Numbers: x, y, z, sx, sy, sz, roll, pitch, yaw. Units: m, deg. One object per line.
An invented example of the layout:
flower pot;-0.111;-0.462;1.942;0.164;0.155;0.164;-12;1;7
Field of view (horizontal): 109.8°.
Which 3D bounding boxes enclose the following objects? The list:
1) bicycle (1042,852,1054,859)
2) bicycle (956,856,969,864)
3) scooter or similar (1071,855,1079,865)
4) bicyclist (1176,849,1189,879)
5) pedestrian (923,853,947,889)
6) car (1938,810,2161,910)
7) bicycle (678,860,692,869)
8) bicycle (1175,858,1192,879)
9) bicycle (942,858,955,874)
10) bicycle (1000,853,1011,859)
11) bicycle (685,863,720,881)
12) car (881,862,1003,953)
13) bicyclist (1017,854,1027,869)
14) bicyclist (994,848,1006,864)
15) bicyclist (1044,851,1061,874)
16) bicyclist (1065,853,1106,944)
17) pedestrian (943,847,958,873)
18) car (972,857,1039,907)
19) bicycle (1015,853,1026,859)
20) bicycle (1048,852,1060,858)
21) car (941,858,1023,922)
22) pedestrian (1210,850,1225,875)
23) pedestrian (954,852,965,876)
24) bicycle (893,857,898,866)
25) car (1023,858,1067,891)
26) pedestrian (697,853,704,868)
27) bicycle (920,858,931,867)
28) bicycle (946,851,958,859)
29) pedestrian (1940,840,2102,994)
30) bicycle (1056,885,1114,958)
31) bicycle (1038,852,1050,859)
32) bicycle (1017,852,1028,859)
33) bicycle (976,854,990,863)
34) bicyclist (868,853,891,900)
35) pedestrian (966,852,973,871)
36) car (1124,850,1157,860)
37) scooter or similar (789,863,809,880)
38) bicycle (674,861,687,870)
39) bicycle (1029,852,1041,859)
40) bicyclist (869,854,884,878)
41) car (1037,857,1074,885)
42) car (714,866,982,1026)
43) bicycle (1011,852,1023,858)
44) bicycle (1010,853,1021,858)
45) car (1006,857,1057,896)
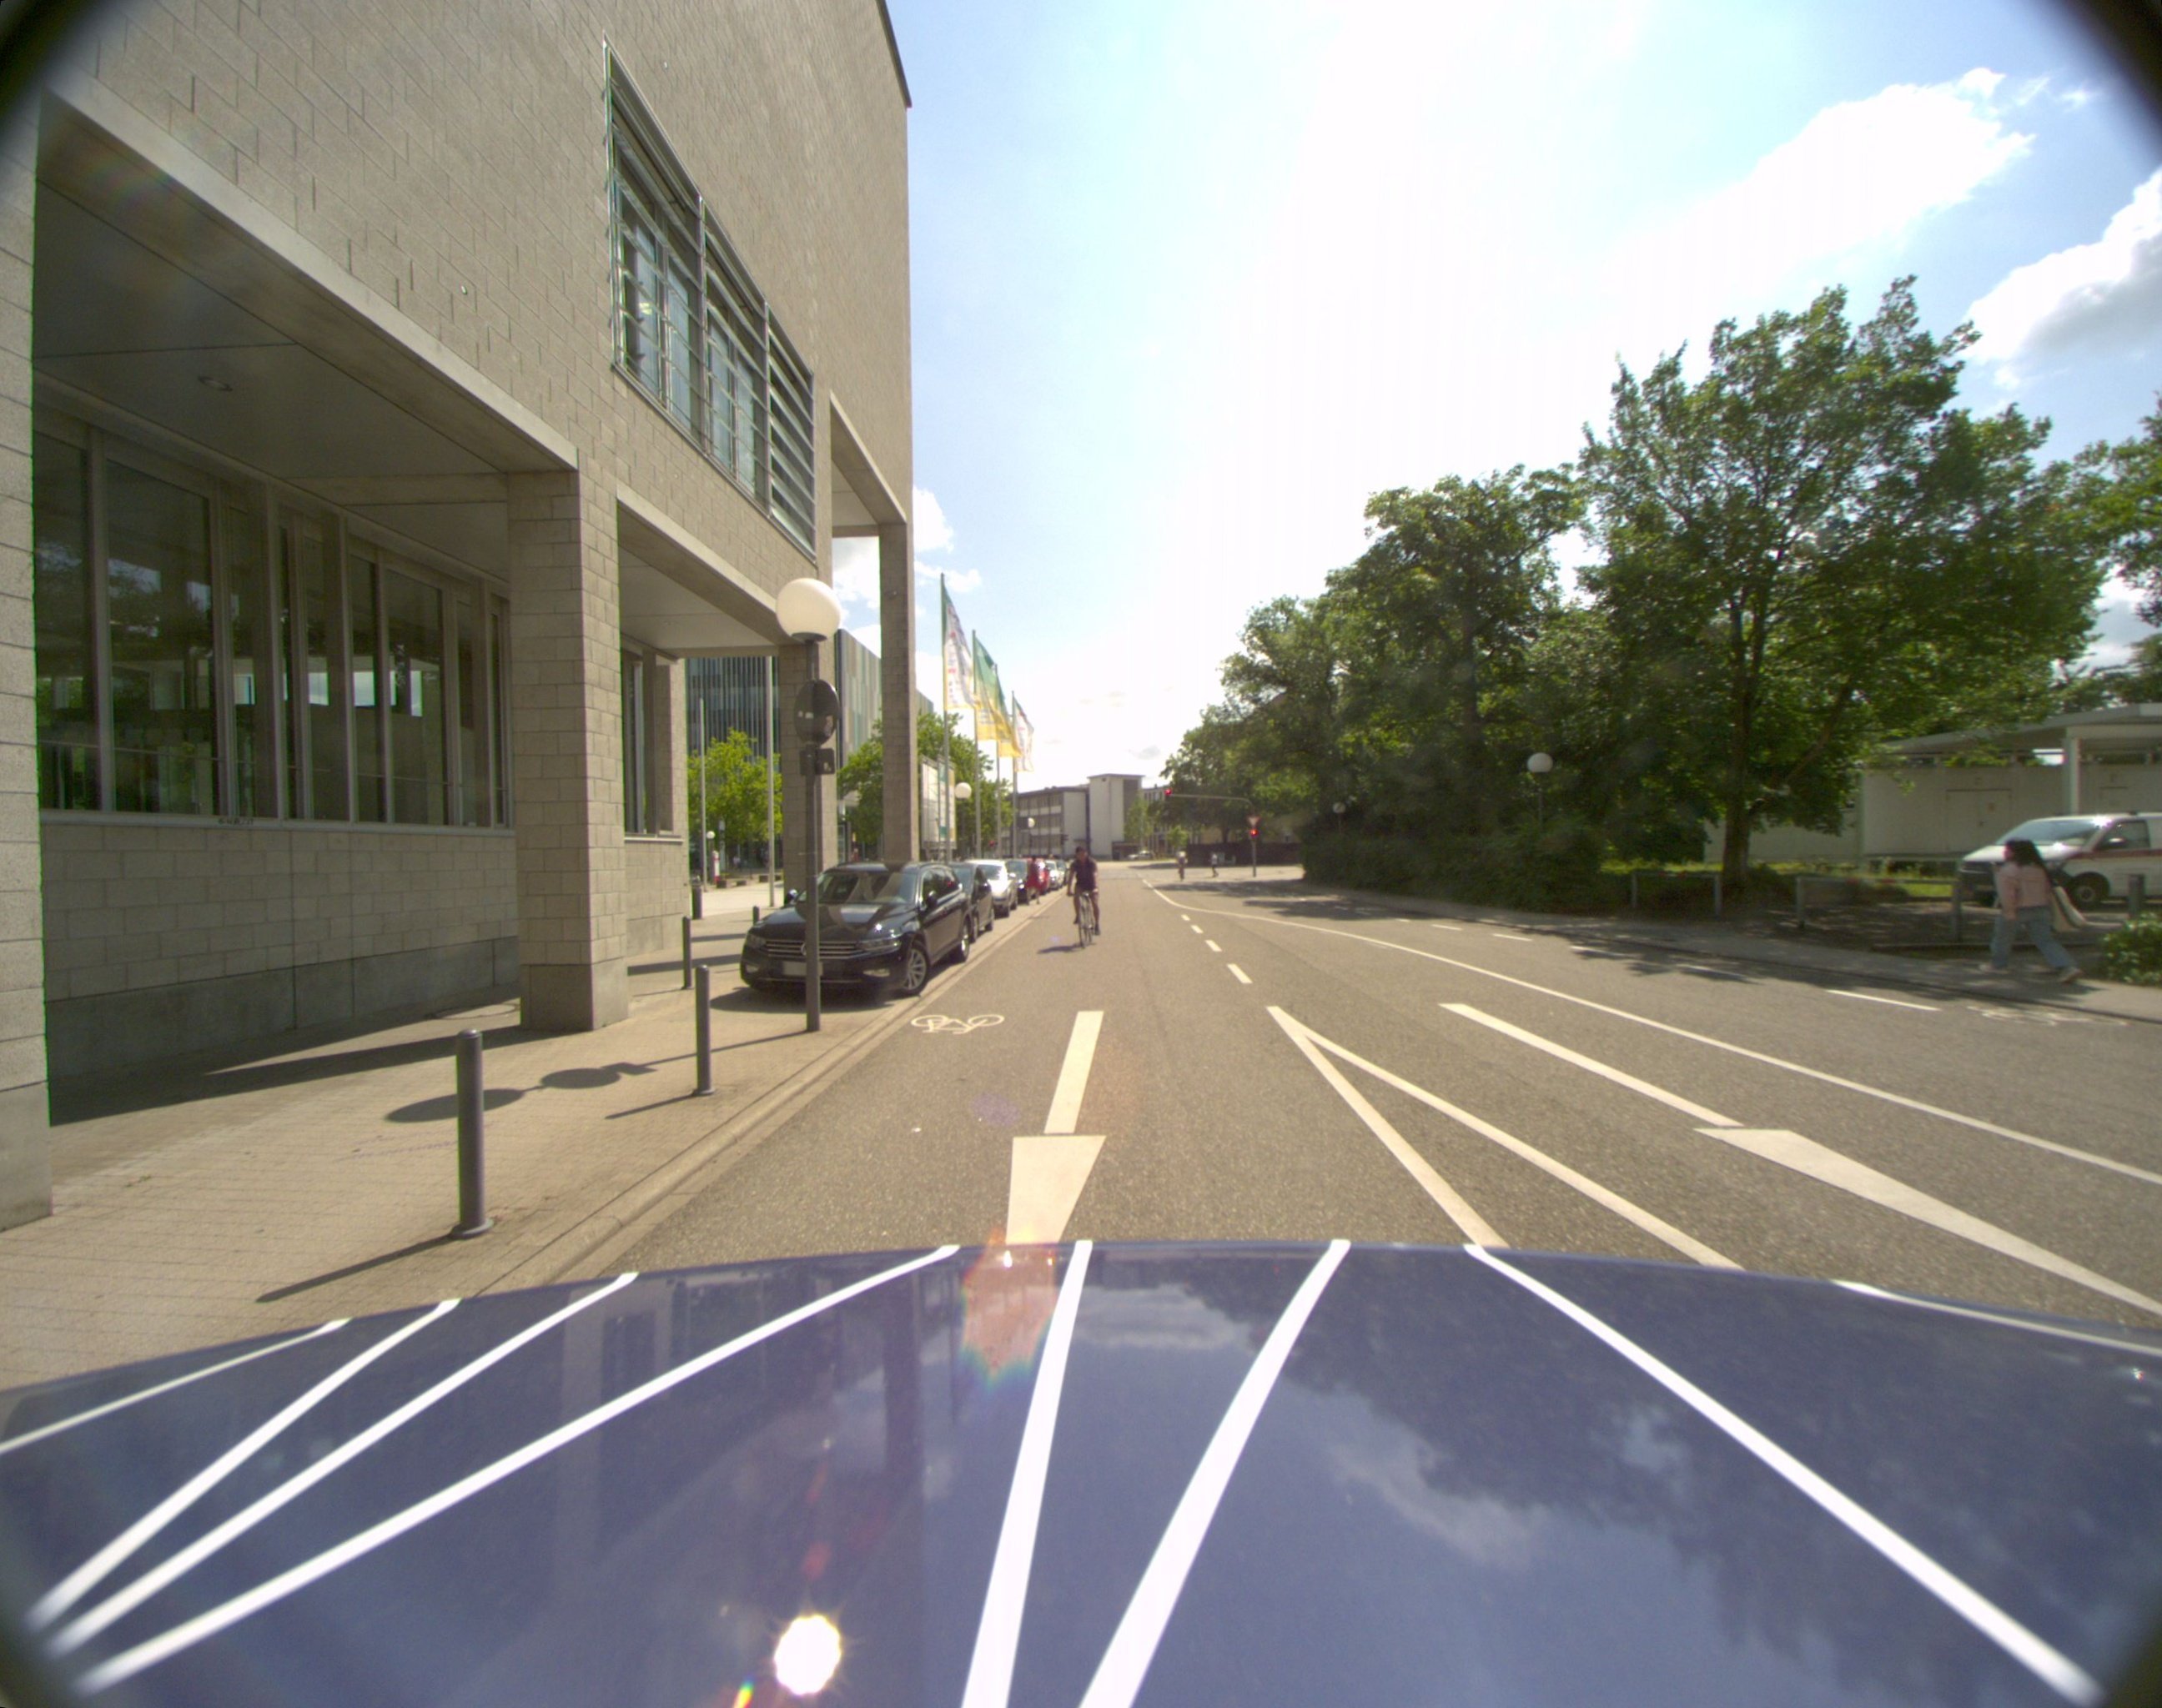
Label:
bicycle;-5.132;0.205;118.406;1.776;0.950;0.528;-1;3;-26
bicycle;-15.214;0.729;97.574;1.768;0.950;0.530;0;2;40
scooter or similar;-0.671;0.640;83.504;0.403;1.060;1.149;-2;1;-25
bicyclist;5.976;0.585;44.726;0.694;1.727;0.919;-1;1;1
pedestrian;-7.307;0.842;38.009;0.920;1.730;1.001;-1;1;2
car;21.957;0.069;16.159;4.931;1.975;2.000;-1;2;4
bicycle;-47.116;1.268;90.414;0.373;0.950;1.548;0;2;18
bicycle;6.010;0.844;44.650;0.694;1.164;2.209;-1;1;1
bicycle;-10.010;0.919;57.353;0.818;1.067;1.889;1;3;-6
bicycle;-12.933;0.291;130.436;1.776;0.950;0.528;-1;3;-26
bicycle;-25.663;1.186;51.487;2.027;1.176;0.800;0;2;13
car;-2.605;0.944;15.154;1.618;1.488;4.006;-1;0;1
bicyclist;-6.209;0.806;79.936;0.787;1.529;0.656;-2;1;-22
bicyclist;-8.424;0.206;78.733;1.001;1.606;0.656;-2;1;-26
bicyclist;-1.974;0.585;52.218;1.016;1.539;0.695;-1;1;12
bicyclist;0.091;0.758;13.480;0.662;1.555;0.933;-1;1;3
pedestrian;-9.881;0.441;57.446;0.856;1.810;1.175;3;3;-2
car;-2.507;0.902;26.094;1.723;1.520;4.000;-1;1;3
bicycle;-9.939;0.252;125.310;1.776;0.950;0.528;-1;3;-26
bicycle;-4.183;0.172;116.331;1.776;0.950;0.528;-1;3;-26
car;-2.610;0.898;21.010;1.723;1.520;4.565;1;0;-1
pedestrian;9.325;0.603;51.899;0.930;1.690;0.854;-1;0;5
pedestrian;-9.187;0.727;57.446;0.594;1.789;0.612;-1;-1;25
bicycle;-22.604;0.913;92.589;0.529;0.950;1.770;-1;1;-17
car;-1.685;0.956;37.143;1.722;1.392;4.439;2;1;2
pedestrian;-46.391;0.762;92.580;0.554;1.832;0.562;-1;2;-5
bicycle;-19.454;1.069;94.920;0.530;0.950;1.768;-6;5;-41
bicycle;-16.383;0.096;96.376;0.530;0.950;1.768;-2;2;-43
pedestrian;10.428;0.662;8.466;0.715;1.617;0.883;-1;1;1
bicycle;0.103;1.137;13.363;0.903;1.072;2.155;-1;0;3
bicycle;-5.846;0.212;119.522;1.776;0.950;0.528;-1;3;-26
bicycle;-9.607;0.246;124.479;1.776;0.950;0.528;-1;3;-26
bicycle;-11.565;0.529;89.762;1.768;0.950;0.530;0;2;40
bicyclist;-5.764;0.625;21.733;0.608;1.312;0.742;-1;0;-13
pedestrian;-10.780;0.717;73.569;0.575;1.832;0.415;-1;2;-2
car;8.713;0.081;110.974;4.500;1.299;1.995;-2;3;-29
scooter or similar;-19.298;1.176;51.926;1.191;1.159;0.353;-1;3;3
bicycle;-47.753;1.353;90.599;0.373;0.950;1.548;0;2;18
bicycle;-7.339;0.229;121.300;1.776;0.950;0.528;-1;3;-26
bicyclist;-13.820;0.803;51.392;0.682;1.559;0.879;-1;0;2
car;-1.395;0.936;43.140;1.722;1.392;4.949;1;1;2
car;-2.596;0.940;9.740;1.871;1.456;4.520;-1;0;2
bicycle;-10.661;0.232;126.657;1.776;0.950;0.528;-1;3;-26
bicycle;-10.960;0.251;127.243;1.776;0.950;0.528;-1;3;-26
car;-2.031;0.912;32.265;1.618;1.488;4.148;1;0;3
